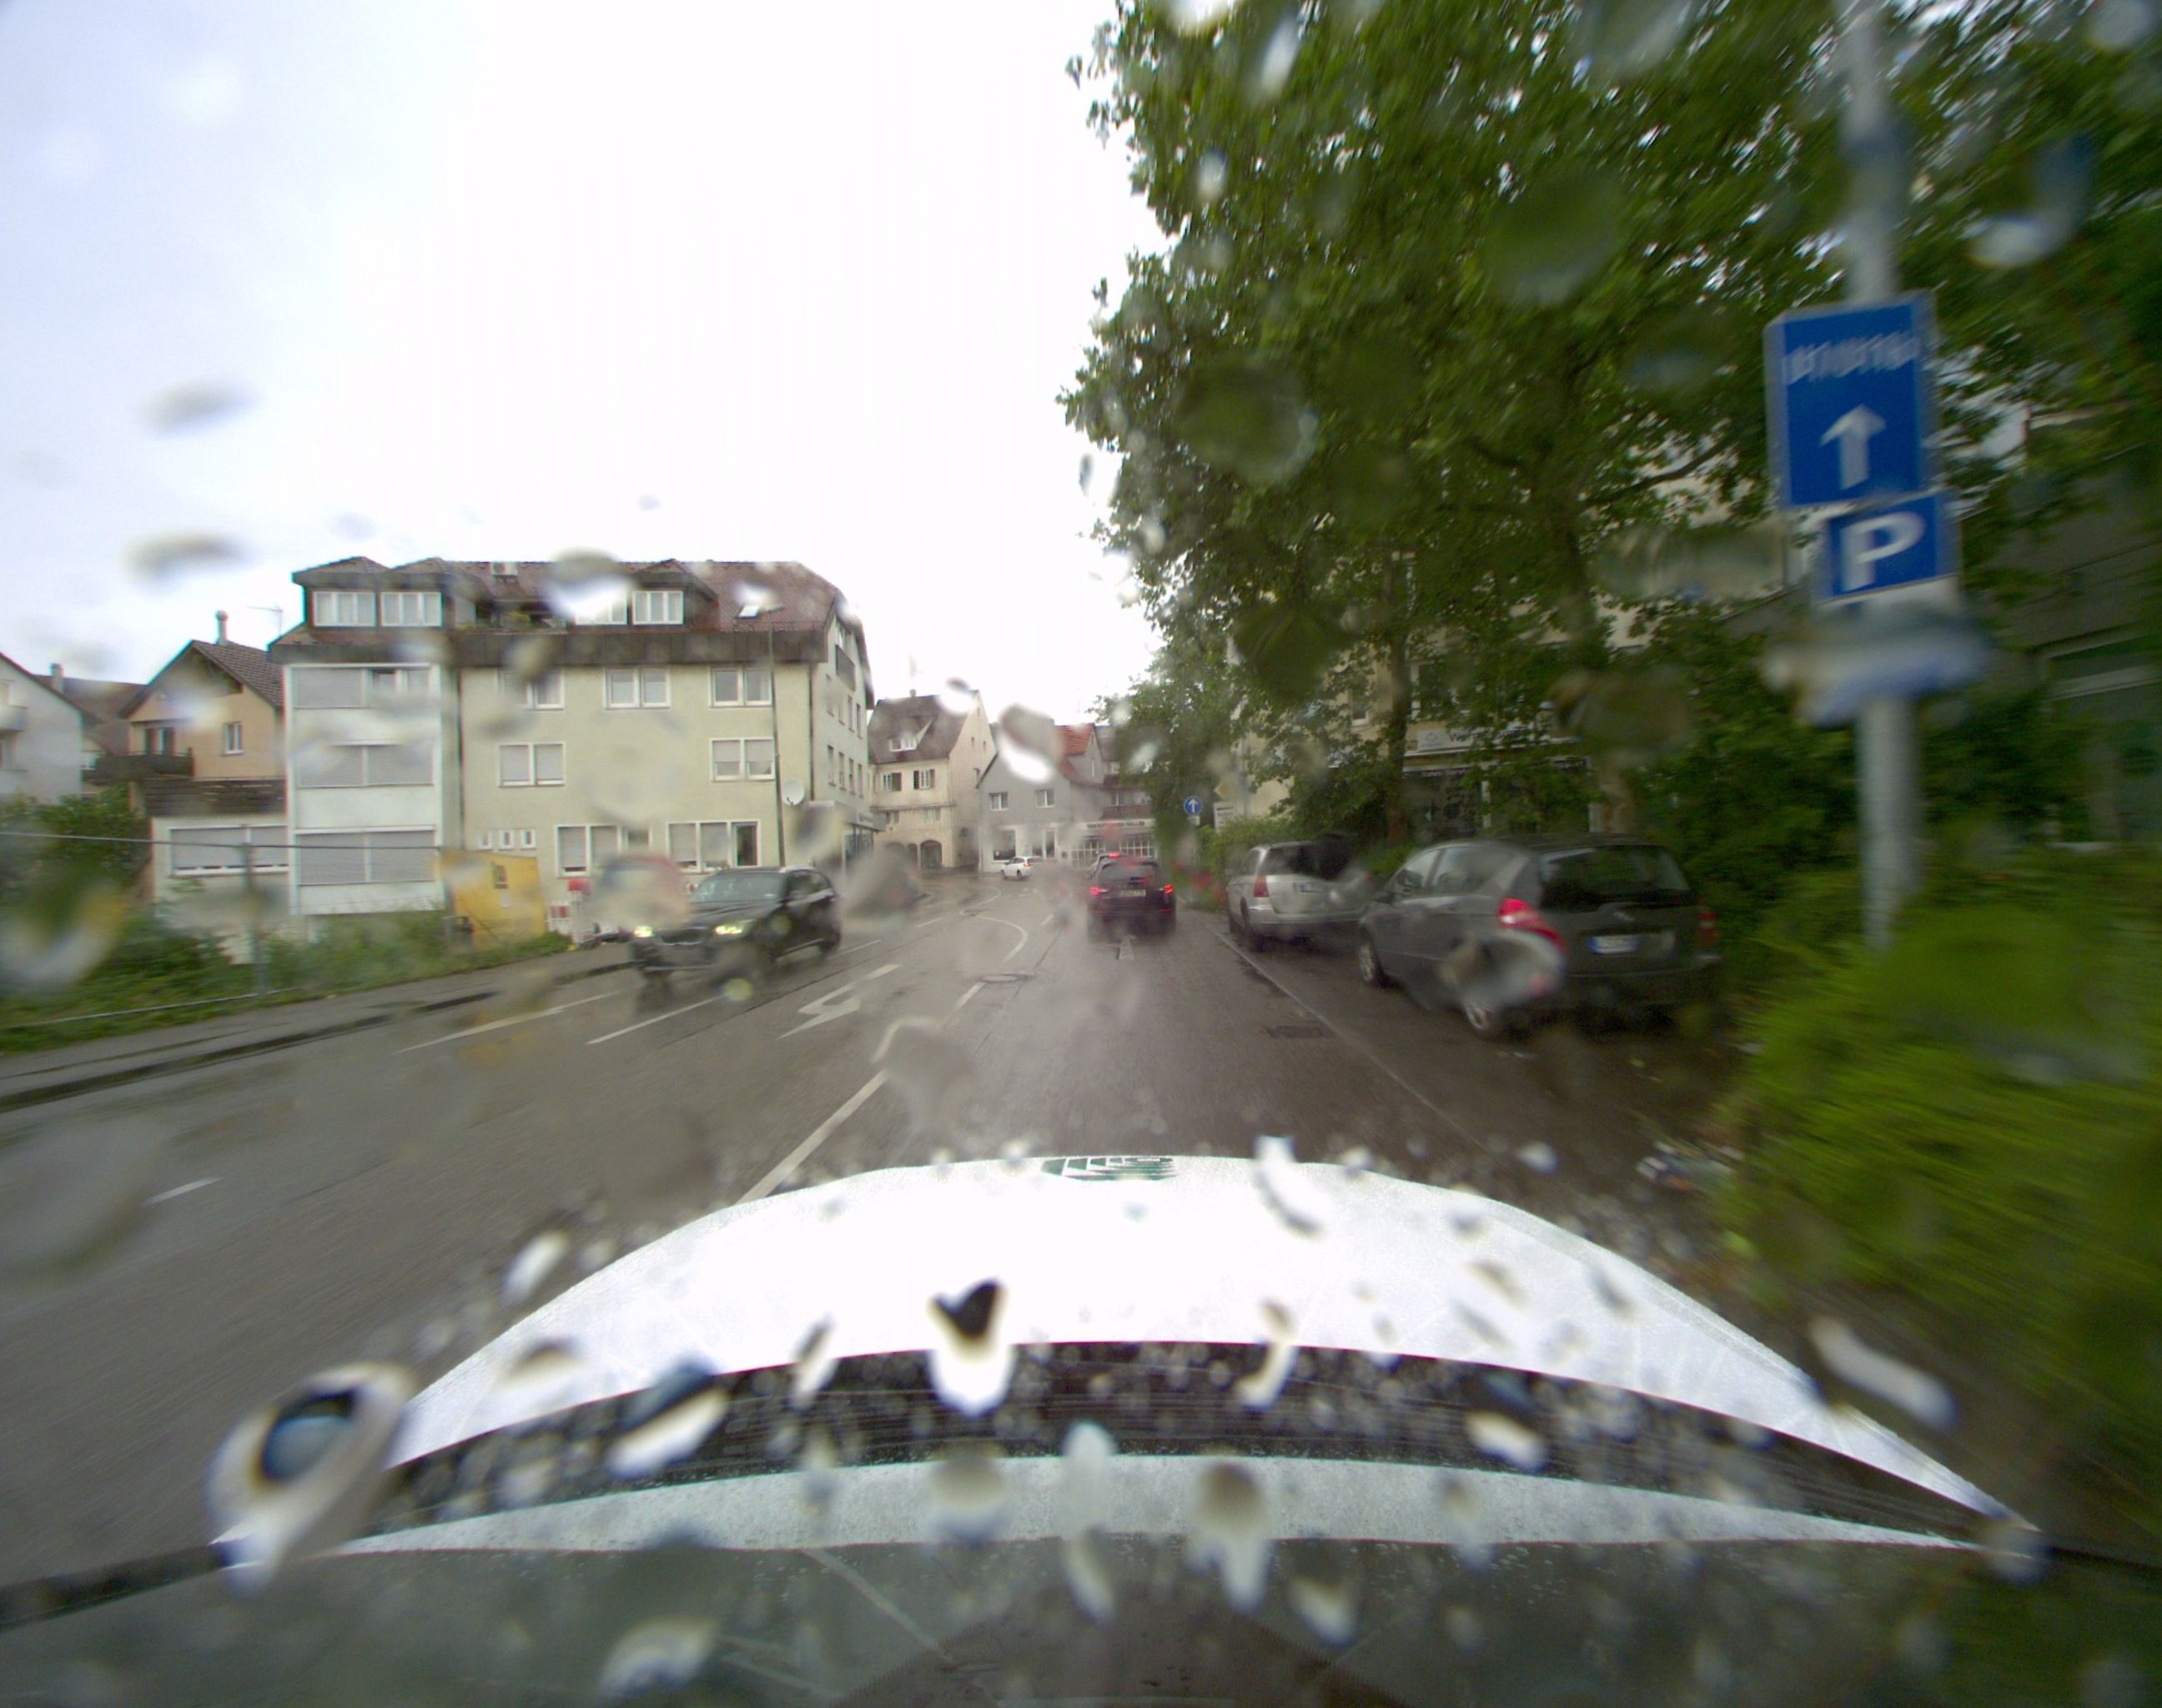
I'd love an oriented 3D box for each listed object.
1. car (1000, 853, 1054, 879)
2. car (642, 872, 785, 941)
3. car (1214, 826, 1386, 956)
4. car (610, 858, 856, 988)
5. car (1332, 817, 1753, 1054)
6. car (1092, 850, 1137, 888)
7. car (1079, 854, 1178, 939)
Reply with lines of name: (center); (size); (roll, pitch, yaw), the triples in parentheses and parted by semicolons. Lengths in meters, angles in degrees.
car: (-3.395, 0.716, 50.634); (1.796, 1.465, 4.126); (-3, 2, -28)
car: (-11.222, 1.580, 25.085); (3.497, 1.390, 1.647); (-10, 2, -7)
car: (3.547, 0.523, 14.127); (1.922, 1.780, 4.738); (-3, 0, 4)
car: (-5.117, 0.905, 12.714); (1.809, 1.571, 4.277); (-3, 0, 2)
car: (3.850, 0.565, 7.688); (1.704, 1.572, 3.914); (-3, 0, 0)
car: (1.586, 0.628, 37.239); (1.780, 1.517, 4.248); (-3, 1, 5)
car: (0.896, 0.794, 17.490); (1.727, 1.450, 4.239); (-2, 1, -2)
